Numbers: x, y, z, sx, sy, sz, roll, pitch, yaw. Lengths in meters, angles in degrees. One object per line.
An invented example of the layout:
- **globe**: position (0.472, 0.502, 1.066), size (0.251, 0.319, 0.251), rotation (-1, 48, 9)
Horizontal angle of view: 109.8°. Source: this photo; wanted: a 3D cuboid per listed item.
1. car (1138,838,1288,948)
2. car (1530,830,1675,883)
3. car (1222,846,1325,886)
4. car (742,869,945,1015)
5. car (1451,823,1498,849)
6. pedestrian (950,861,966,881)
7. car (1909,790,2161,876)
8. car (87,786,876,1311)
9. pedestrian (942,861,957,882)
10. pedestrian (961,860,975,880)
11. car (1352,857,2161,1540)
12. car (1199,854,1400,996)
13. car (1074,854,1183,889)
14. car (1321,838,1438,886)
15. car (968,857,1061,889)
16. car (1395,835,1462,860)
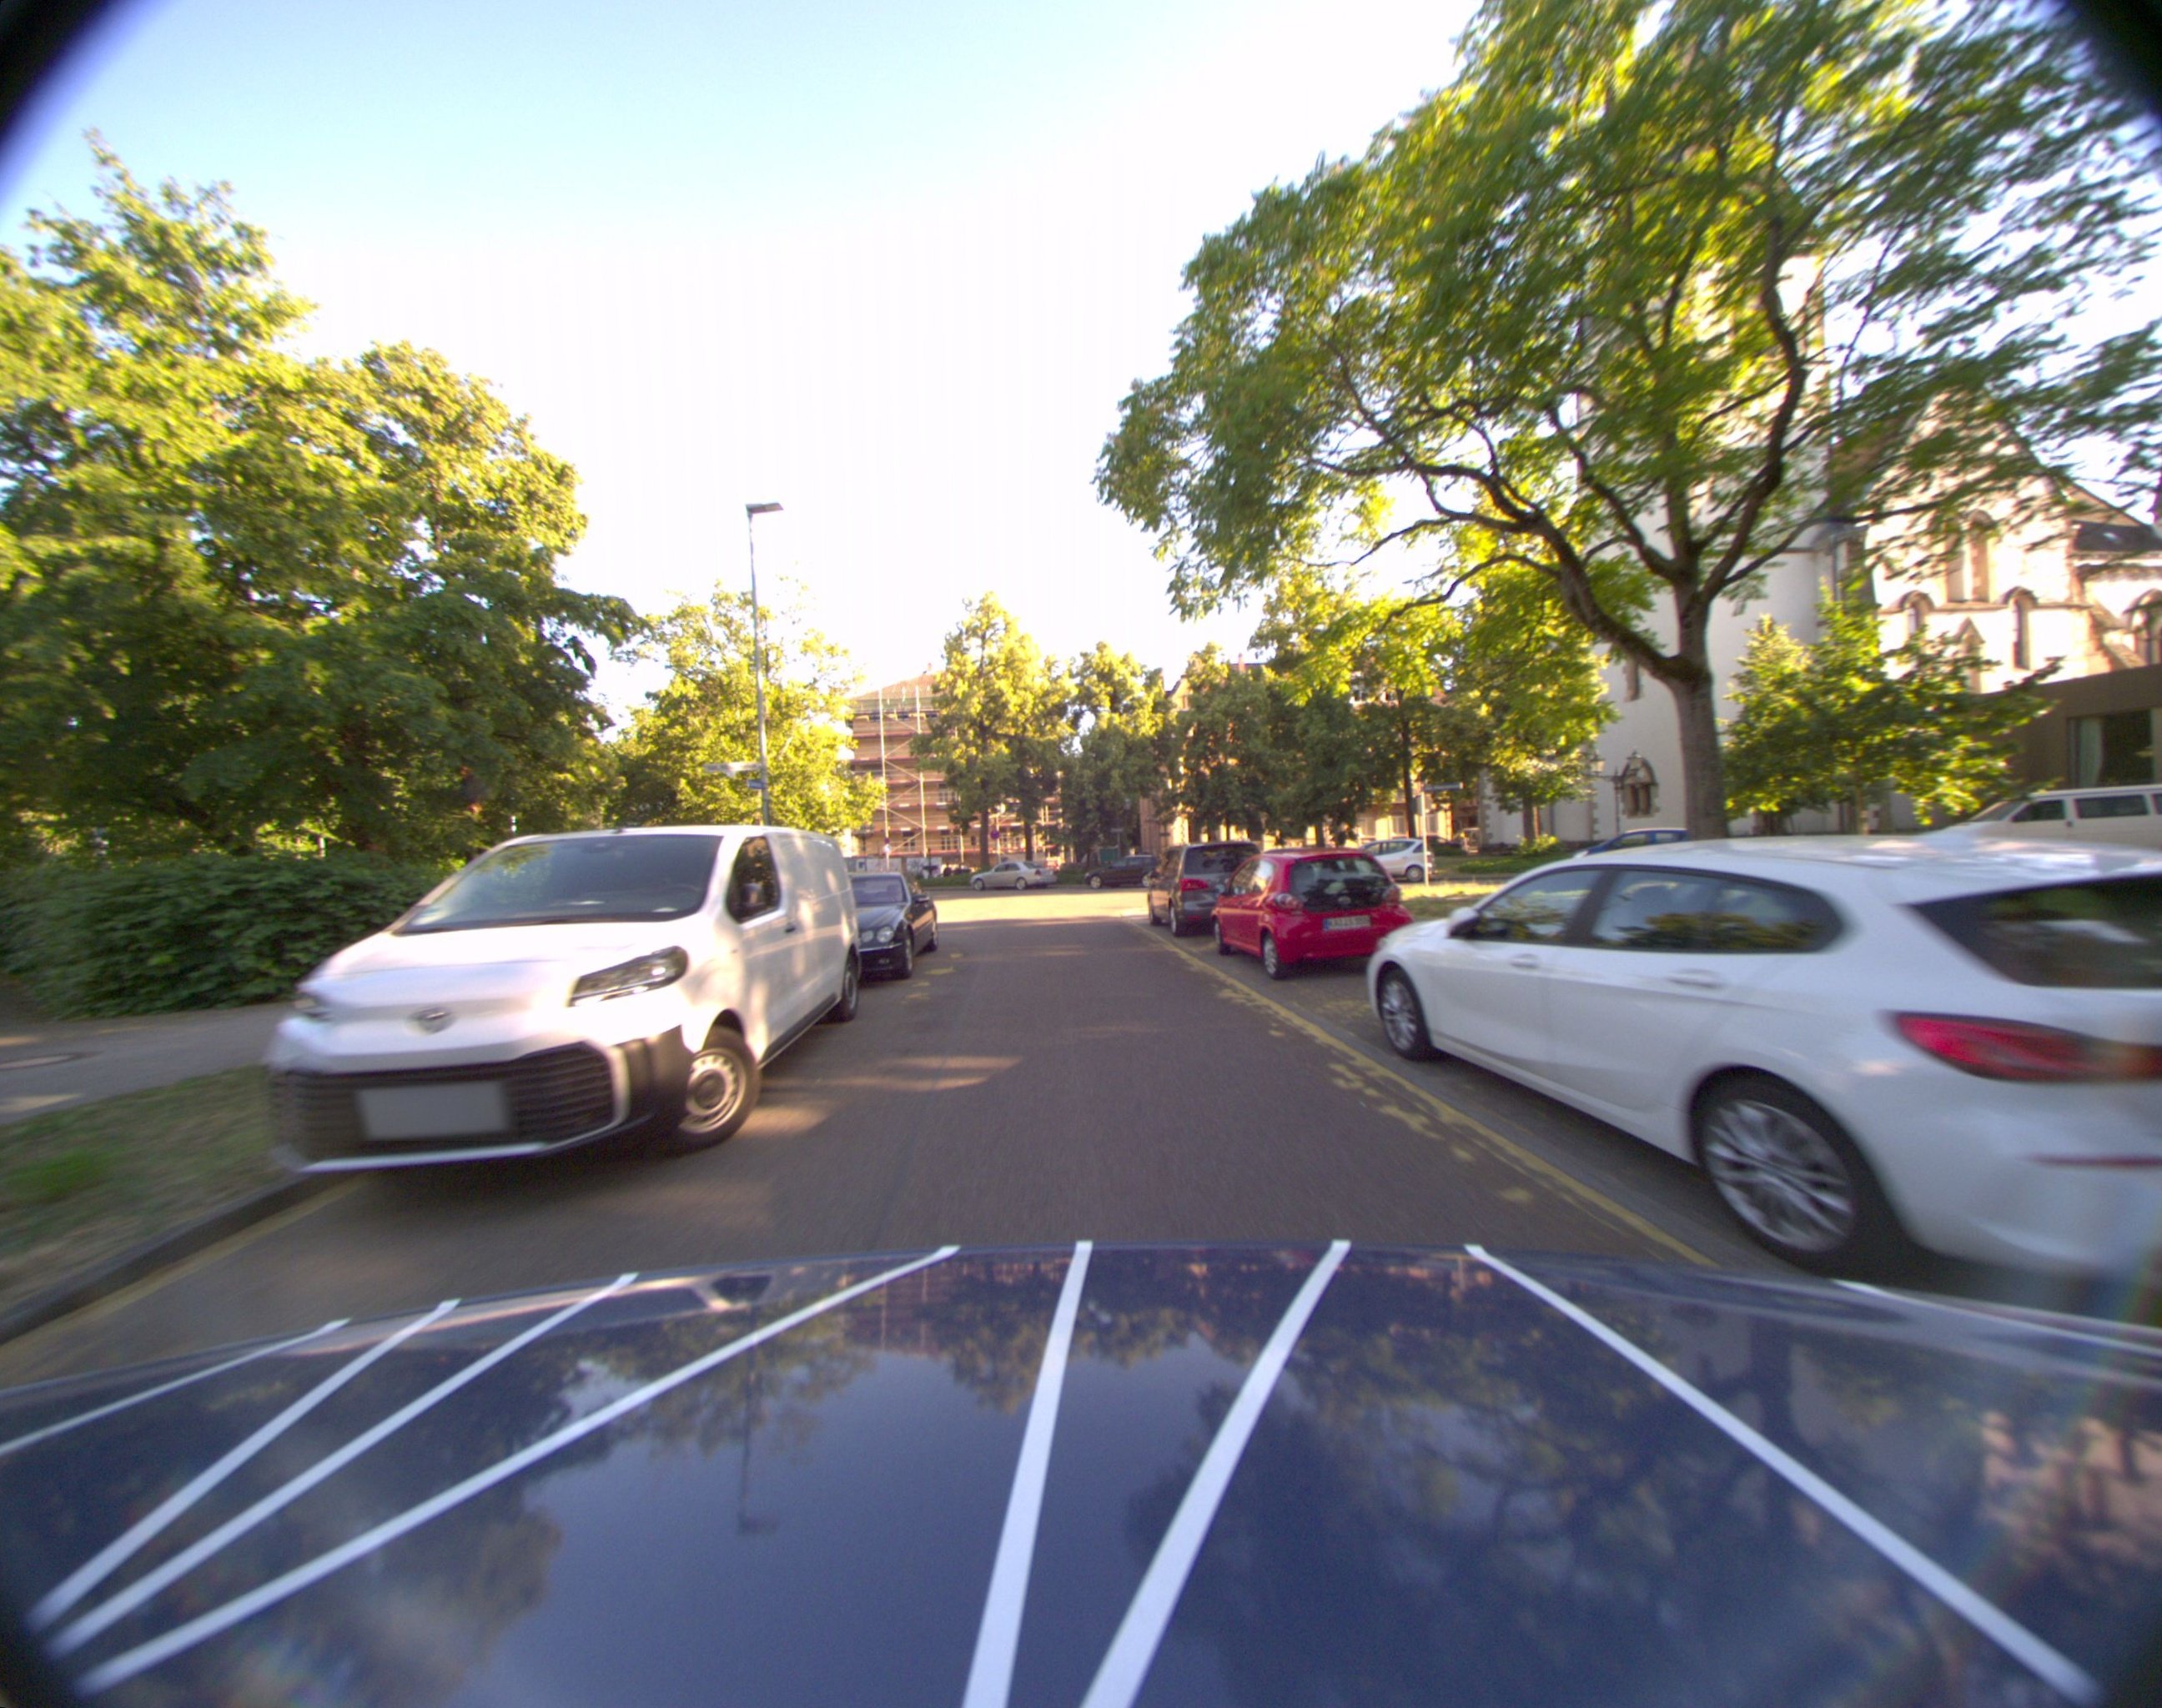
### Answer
- **car**: position (2.339, 0.636, 14.650), size (1.807, 1.666, 4.319), rotation (-5, 0, -3)
- **car**: position (16.620, 0.085, 24.406), size (3.687, 1.493, 1.624), rotation (-3, 1, 31)
- **car**: position (7.602, 0.490, 30.112), size (3.596, 1.431, 1.621), rotation (-3, -1, 33)
- **car**: position (-3.132, 1.044, 11.085), size (1.770, 1.459, 4.863), rotation (-3, 0, -5)
- **car**: position (37.351, -1.665, 72.218), size (1.891, 2.248, 4.218), rotation (-3, 0, -4)
- **pedestrian**: position (-7.734, 1.087, 47.903), size (0.554, 1.188, 0.882), rotation (-3, 1, -41)
- **car**: position (24.902, -0.514, 19.334), size (4.828, 1.935, 1.860), rotation (-3, 1, 31)
- **car**: position (-3.079, 0.765, 5.652), size (1.958, 2.002, 5.151), rotation (-3, 0, -4)
- **pedestrian**: position (-8.187, 1.084, 47.295), size (0.554, 1.290, 0.764), rotation (-3, 1, -41)
- **pedestrian**: position (-7.159, 1.032, 48.131), size (0.554, 1.226, 0.723), rotation (-3, 1, -41)
- **car**: position (3.025, 0.797, 3.754), size (1.695, 1.398, 3.973), rotation (-5, 0, -3)
- **car**: position (2.647, 0.774, 9.956), size (1.391, 1.415, 3.425), rotation (-5, 0, -3)
- **car**: position (2.075, 0.781, 33.759), size (4.483, 1.407, 1.834), rotation (-3, -2, 33)
- **car**: position (10.898, 0.296, 27.770), size (3.687, 1.570, 1.713), rotation (-3, 1, 31)
- **car**: position (-3.317, 0.948, 37.538), size (4.486, 1.407, 1.789), rotation (-3, -2, 36)
- **car**: position (26.369, -0.492, 57.701), size (4.219, 1.646, 1.891), rotation (-3, 0, -5)
